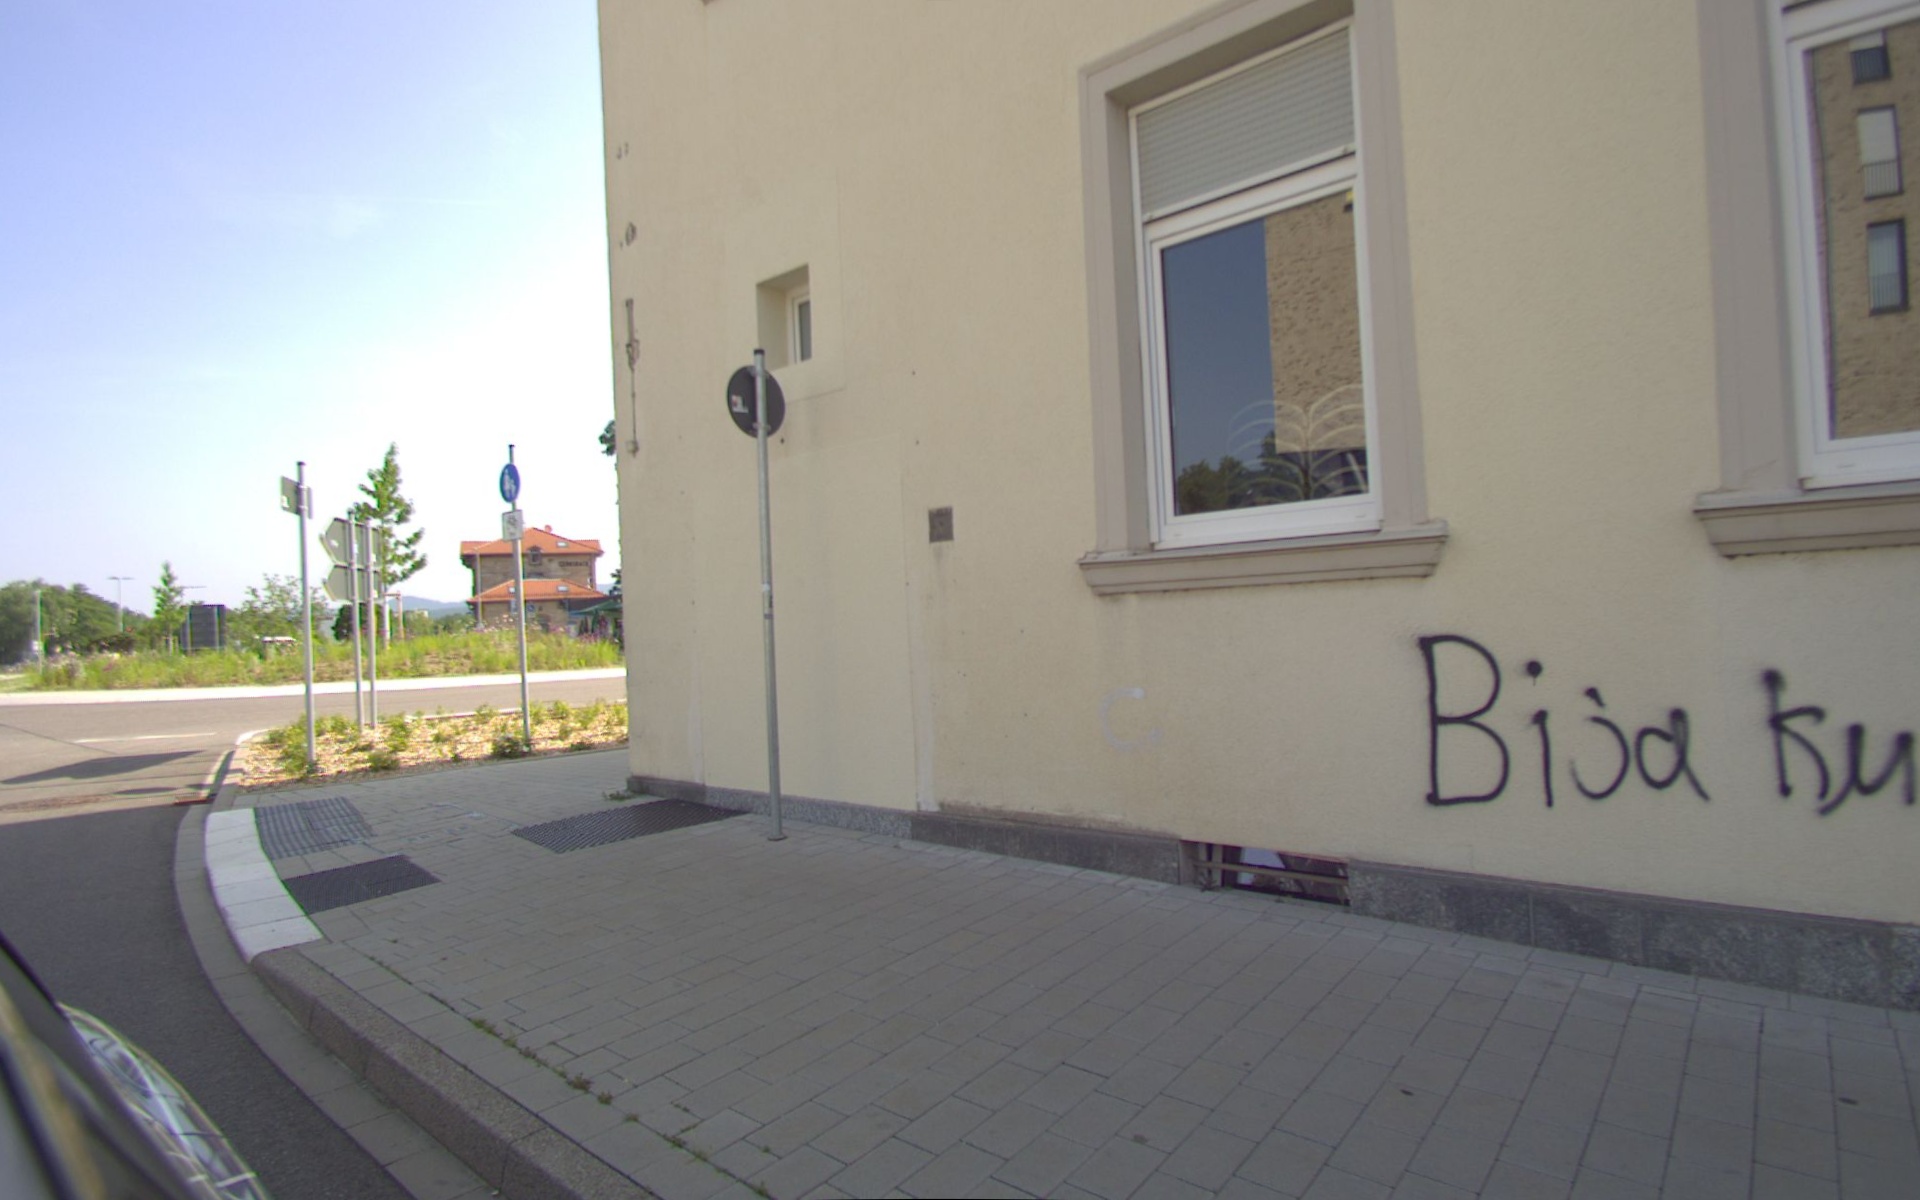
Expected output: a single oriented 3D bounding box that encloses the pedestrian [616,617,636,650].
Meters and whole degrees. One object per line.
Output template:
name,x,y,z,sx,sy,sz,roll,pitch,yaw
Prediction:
pedestrian,-21.256,2.119,64.380,0.706,2.028,0.850,-5,-1,30
